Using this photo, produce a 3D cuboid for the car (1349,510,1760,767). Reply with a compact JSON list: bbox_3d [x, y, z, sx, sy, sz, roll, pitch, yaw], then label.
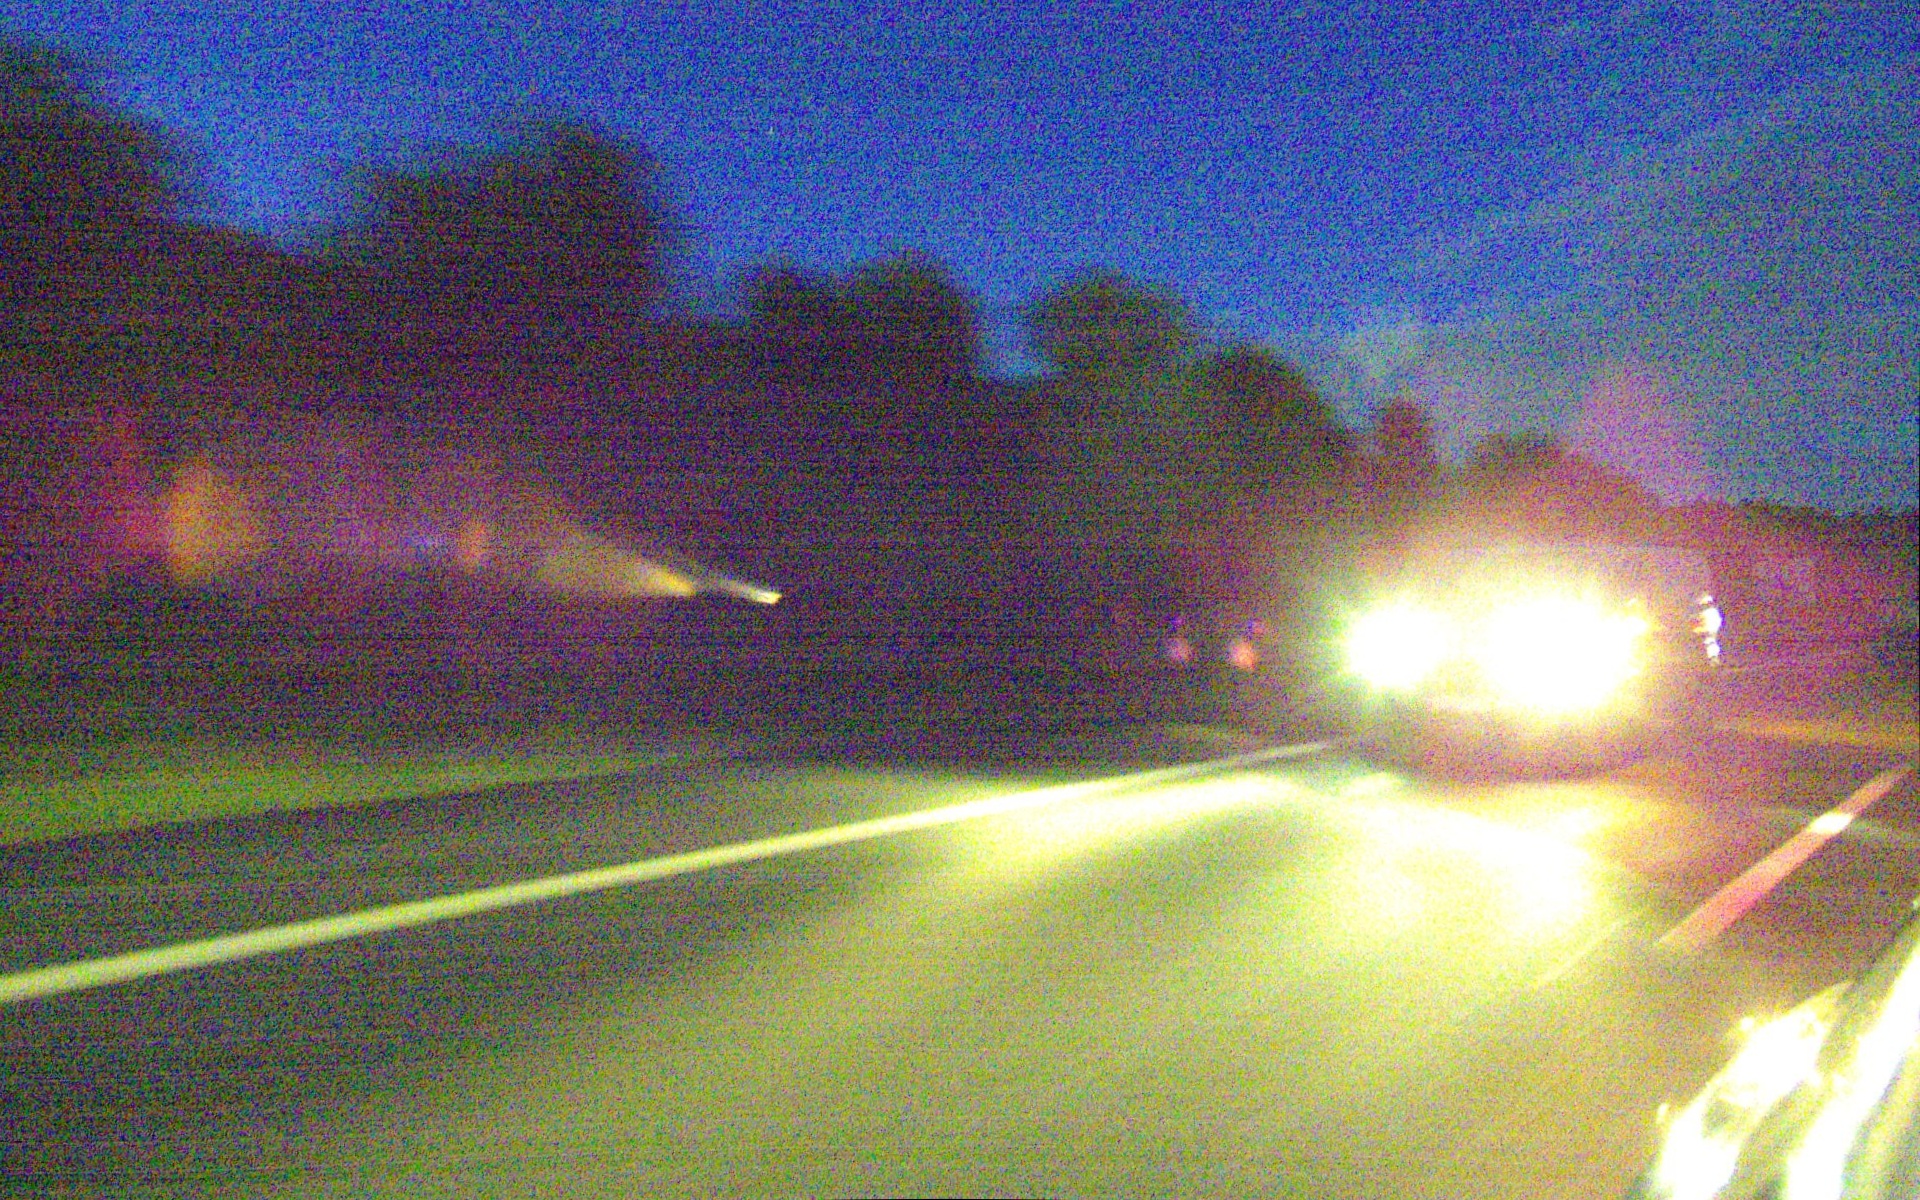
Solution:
[{"bbox_3d":[6.452,0.260,10.622,5.566,2.026,2.119,-1,1,-42],"label":"car"}]
